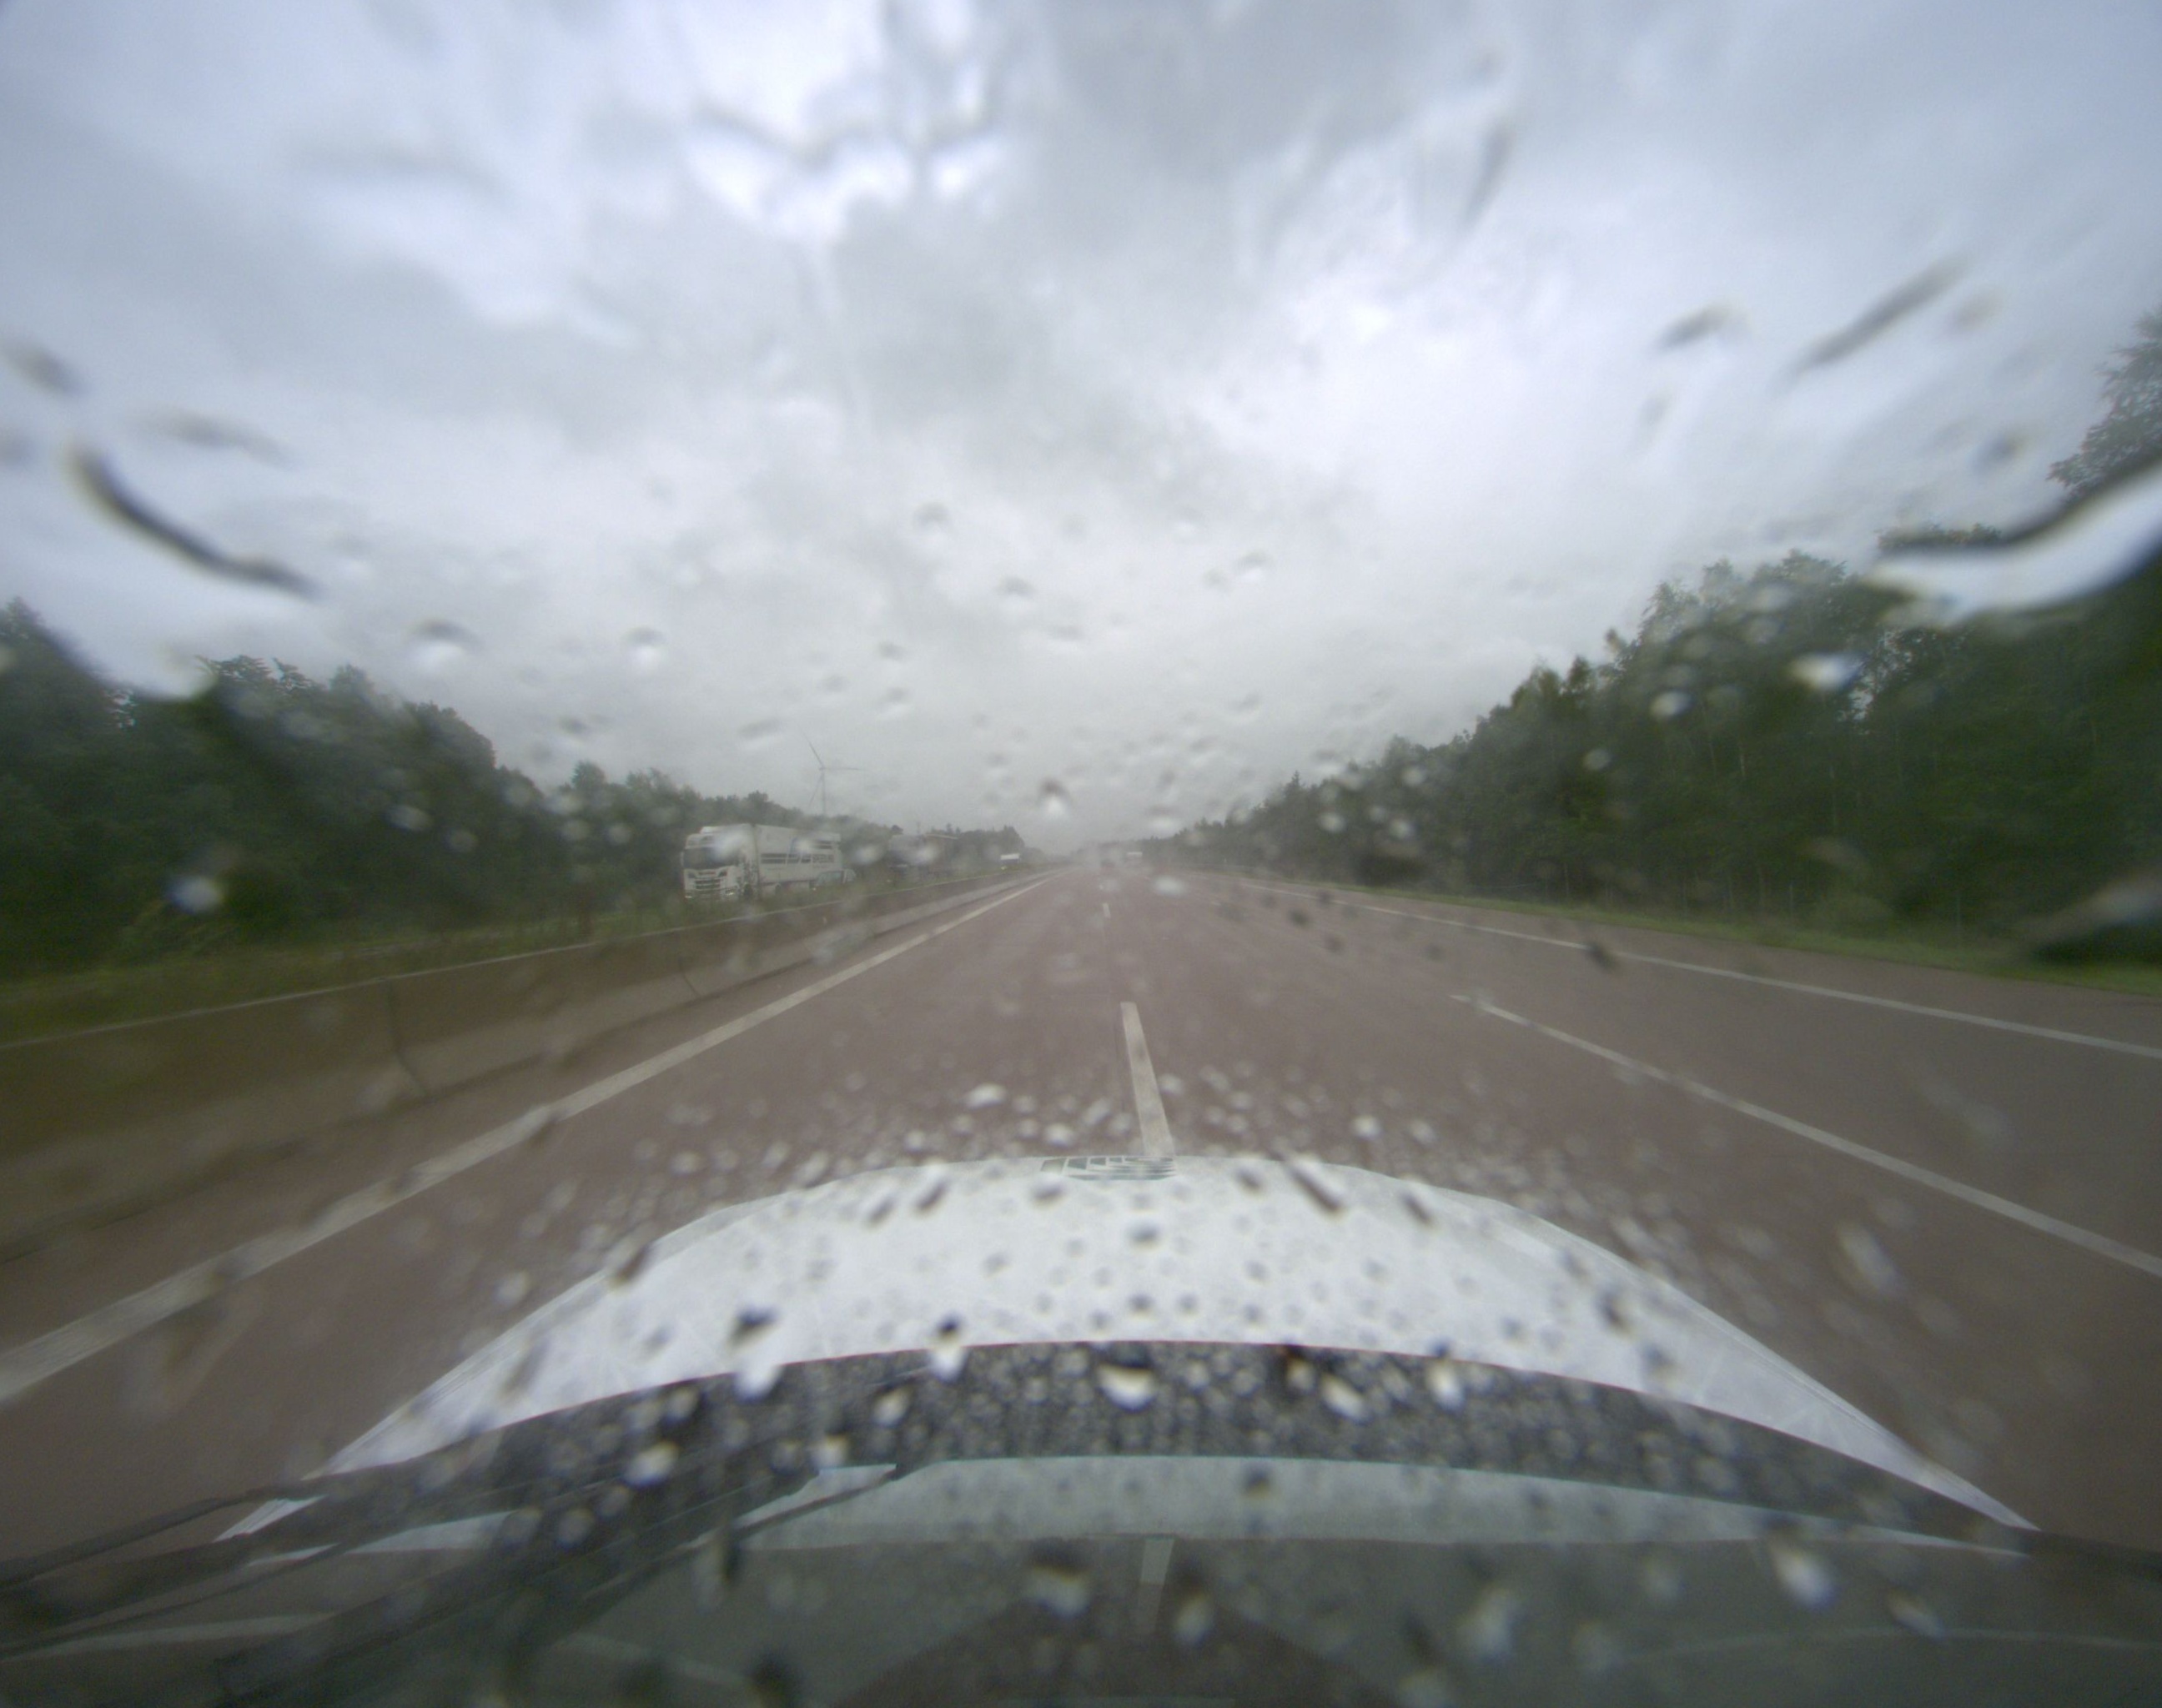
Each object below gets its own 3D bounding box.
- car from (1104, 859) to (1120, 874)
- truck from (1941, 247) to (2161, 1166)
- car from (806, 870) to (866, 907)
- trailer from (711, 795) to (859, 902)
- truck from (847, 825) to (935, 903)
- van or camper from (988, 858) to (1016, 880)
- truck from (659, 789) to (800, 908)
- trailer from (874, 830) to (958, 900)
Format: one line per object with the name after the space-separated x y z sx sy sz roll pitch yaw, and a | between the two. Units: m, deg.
4.315 1.762 113.498 2.165 1.981 4.131 2 0 2 | car
6.251 -0.672 1.351 2.871 4.106 6.350 -3 0 1 | truck
-10.150 1.394 33.936 1.410 1.357 3.085 -3 0 2 | car
-17.149 -0.238 48.976 3.418 5.441 14.239 -1 0 1 | trailer
-13.090 0.653 57.159 3.911 5.015 8.953 -1 0 1 | truck
-9.823 1.854 102.217 2.782 2.405 6.488 -3 0 0 | van or camper
-17.299 -0.223 40.871 3.407 5.379 8.158 -1 -1 1 | truck
-13.042 0.855 66.155 3.978 5.059 14.232 -1 0 0 | trailer
